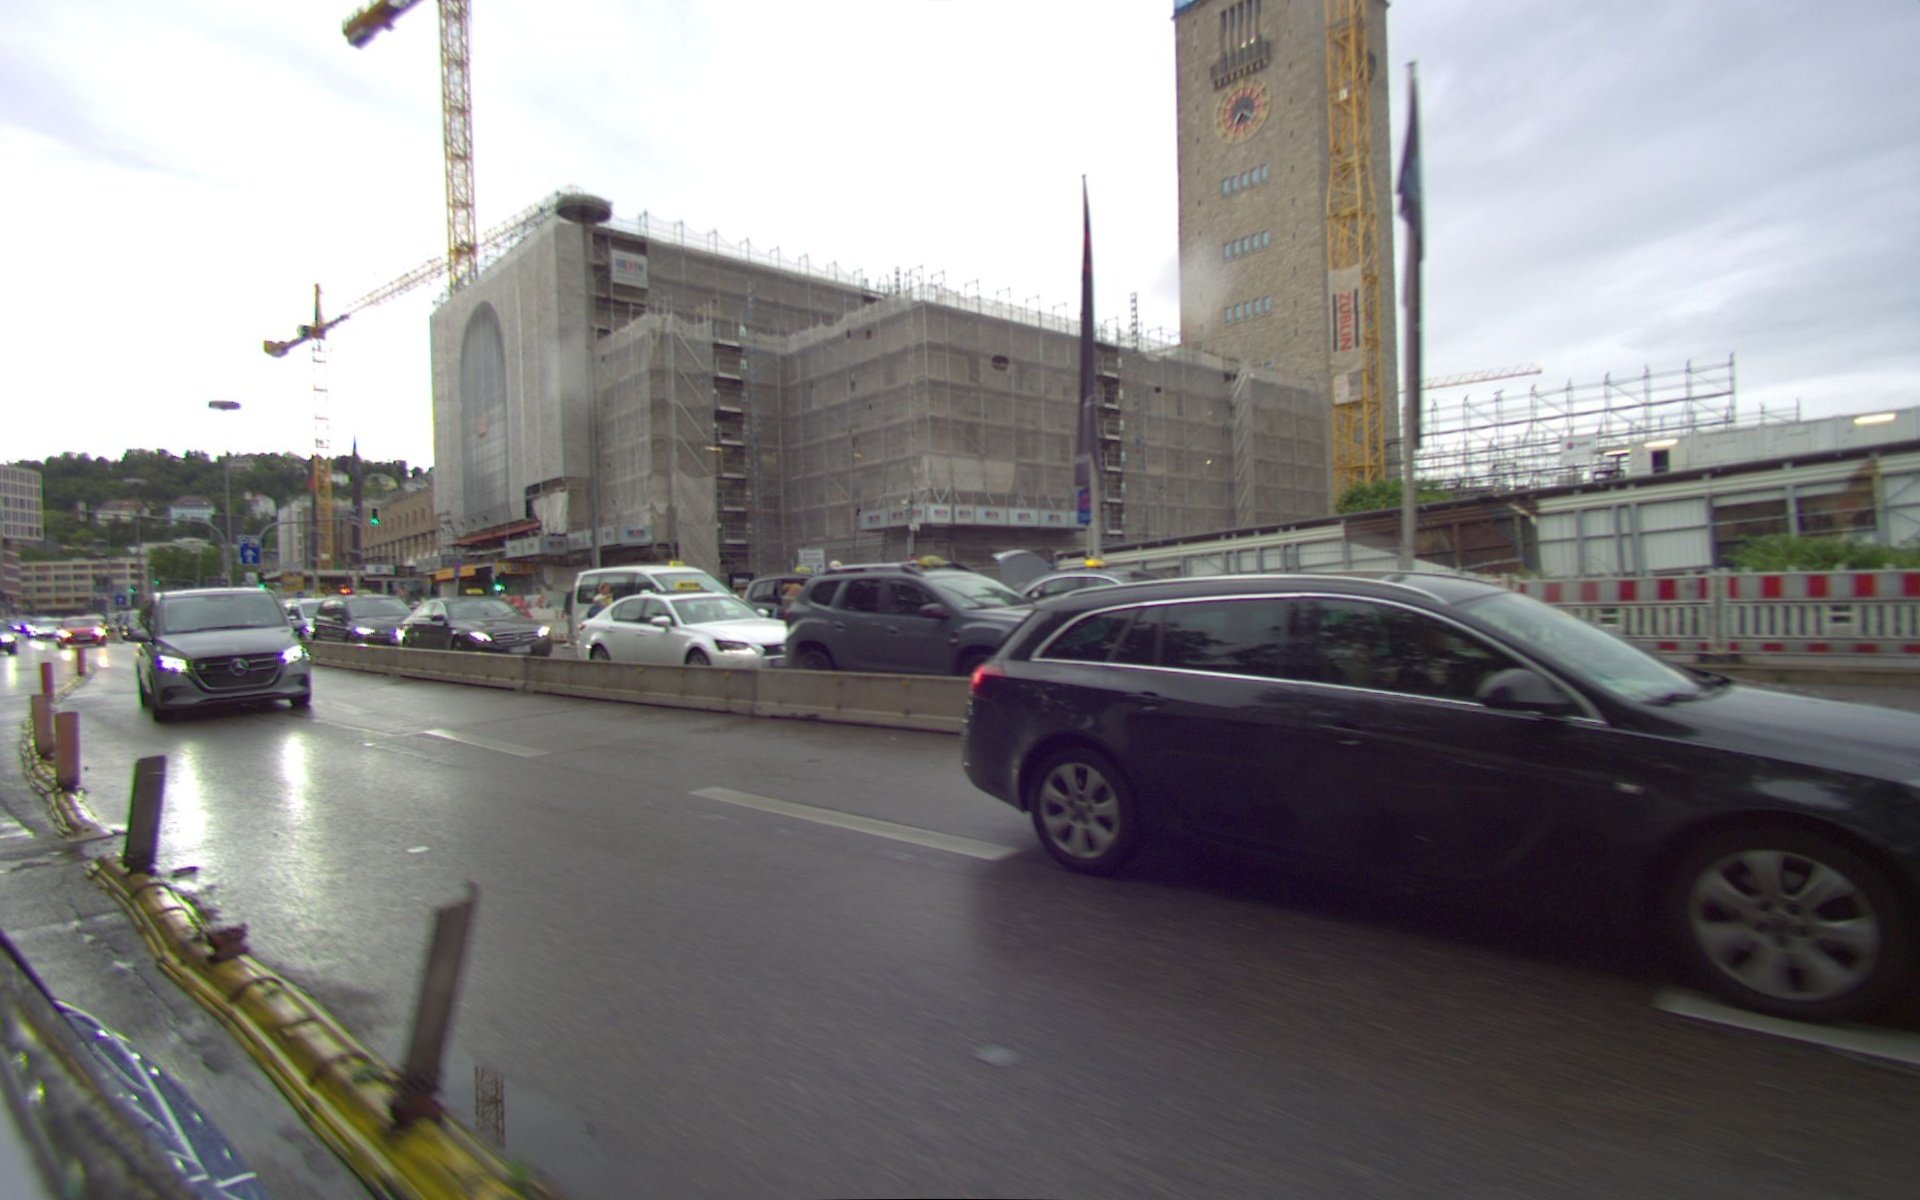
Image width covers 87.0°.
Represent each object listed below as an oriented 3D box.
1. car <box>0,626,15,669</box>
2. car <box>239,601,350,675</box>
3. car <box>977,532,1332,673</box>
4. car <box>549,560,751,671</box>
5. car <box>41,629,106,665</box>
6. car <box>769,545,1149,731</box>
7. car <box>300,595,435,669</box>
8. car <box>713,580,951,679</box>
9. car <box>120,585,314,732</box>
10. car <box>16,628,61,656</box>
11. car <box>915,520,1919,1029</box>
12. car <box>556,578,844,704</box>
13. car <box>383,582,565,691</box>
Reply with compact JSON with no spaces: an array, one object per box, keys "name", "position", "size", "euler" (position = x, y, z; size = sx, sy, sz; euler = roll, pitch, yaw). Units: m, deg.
[{"name":"car","position":[-41.597,2.017,42.804],"size":[3.997,1.776,1.973],"euler":[-1,-1,40]},{"name":"car","position":[-19.930,1.084,30.236],"size":[4.002,2.029,1.971],"euler":[-1,0,45]},{"name":"car","position":[2.572,0.057,14.122],"size":[4.570,1.665,1.809],"euler":[-1,-1,40]},{"name":"car","position":[-7.023,0.335,22.613],"size":[4.994,2.224,1.978],"euler":[-1,-1,41]},{"name":"car","position":[-42.661,2.241,48.665],"size":[4.247,1.550,1.791],"euler":[-1,0,41]},{"name":"car","position":[-0.131,0.386,12.097],"size":[4.290,1.828,1.973],"euler":[-1,0,40]},{"name":"car","position":[-15.468,0.772,26.306],"size":[1.970,1.729,4.758],"euler":[-1,0,-44]},{"name":"car","position":[-2.371,0.489,18.321],"size":[3.997,1.585,2.145],"euler":[-1,-1,40]},{"name":"car","position":[-11.908,0.810,16.046],"size":[1.969,1.870,5.365],"euler":[-3,1,-41]},{"name":"car","position":[-61.076,2.741,67.076],"size":[3.997,1.721,1.741],"euler":[-1,-1,40]},{"name":"car","position":[2.196,0.479,4.620],"size":[4.917,1.474,1.789],"euler":[-1,2,42]},{"name":"car","position":[-4.187,0.598,15.810],"size":[4.899,1.666,1.972],"euler":[-2,-1,42]},{"name":"car","position":[-10.735,0.748,22.196],"size":[4.712,2.130,1.972],"euler":[-1,-1,42]}]
